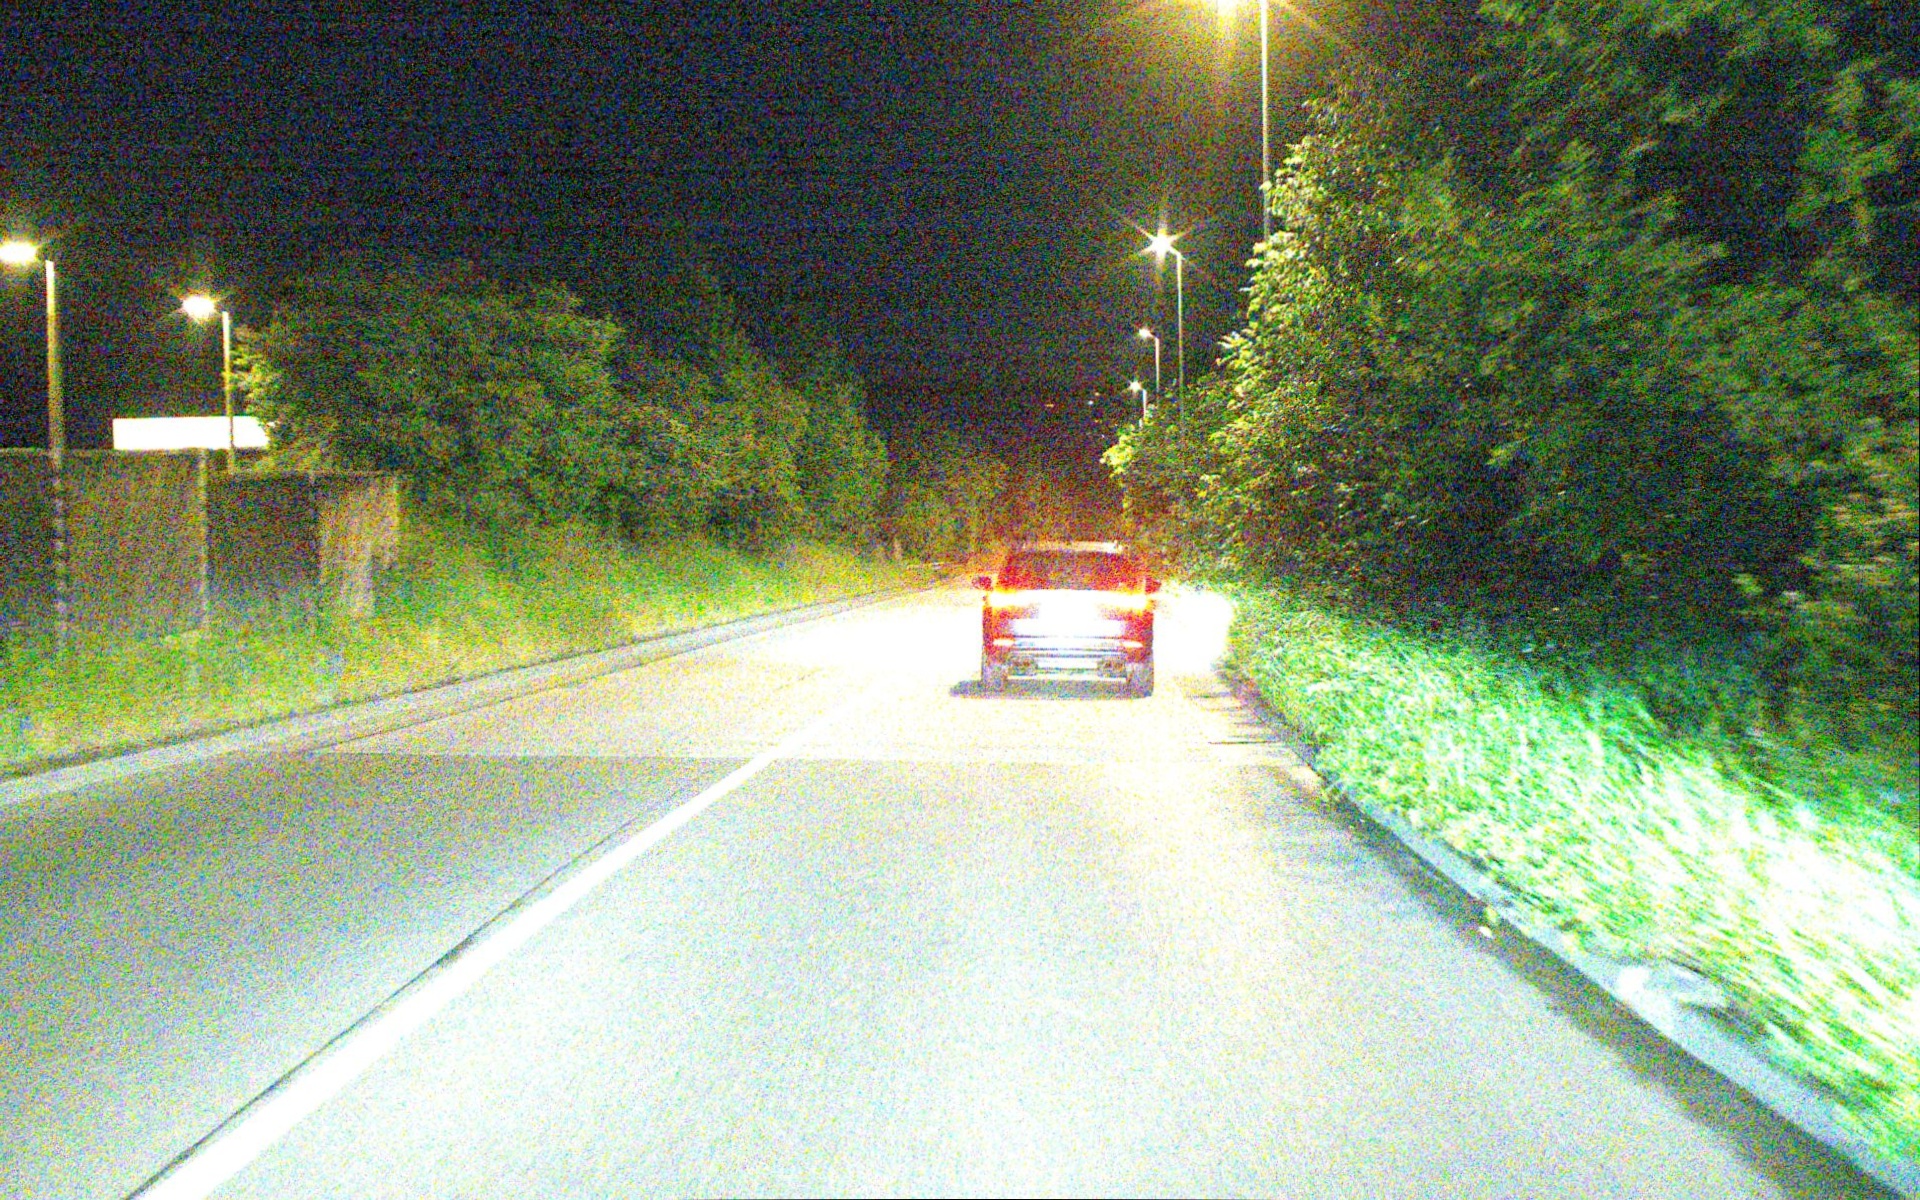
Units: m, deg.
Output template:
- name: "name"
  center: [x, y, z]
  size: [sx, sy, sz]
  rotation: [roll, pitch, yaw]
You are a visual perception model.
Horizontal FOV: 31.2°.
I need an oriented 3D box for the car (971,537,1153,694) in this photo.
- name: "car"
  center: [1.097, 0.129, 36.828]
  size: [1.815, 1.568, 3.943]
  rotation: [1, 1, 2]
